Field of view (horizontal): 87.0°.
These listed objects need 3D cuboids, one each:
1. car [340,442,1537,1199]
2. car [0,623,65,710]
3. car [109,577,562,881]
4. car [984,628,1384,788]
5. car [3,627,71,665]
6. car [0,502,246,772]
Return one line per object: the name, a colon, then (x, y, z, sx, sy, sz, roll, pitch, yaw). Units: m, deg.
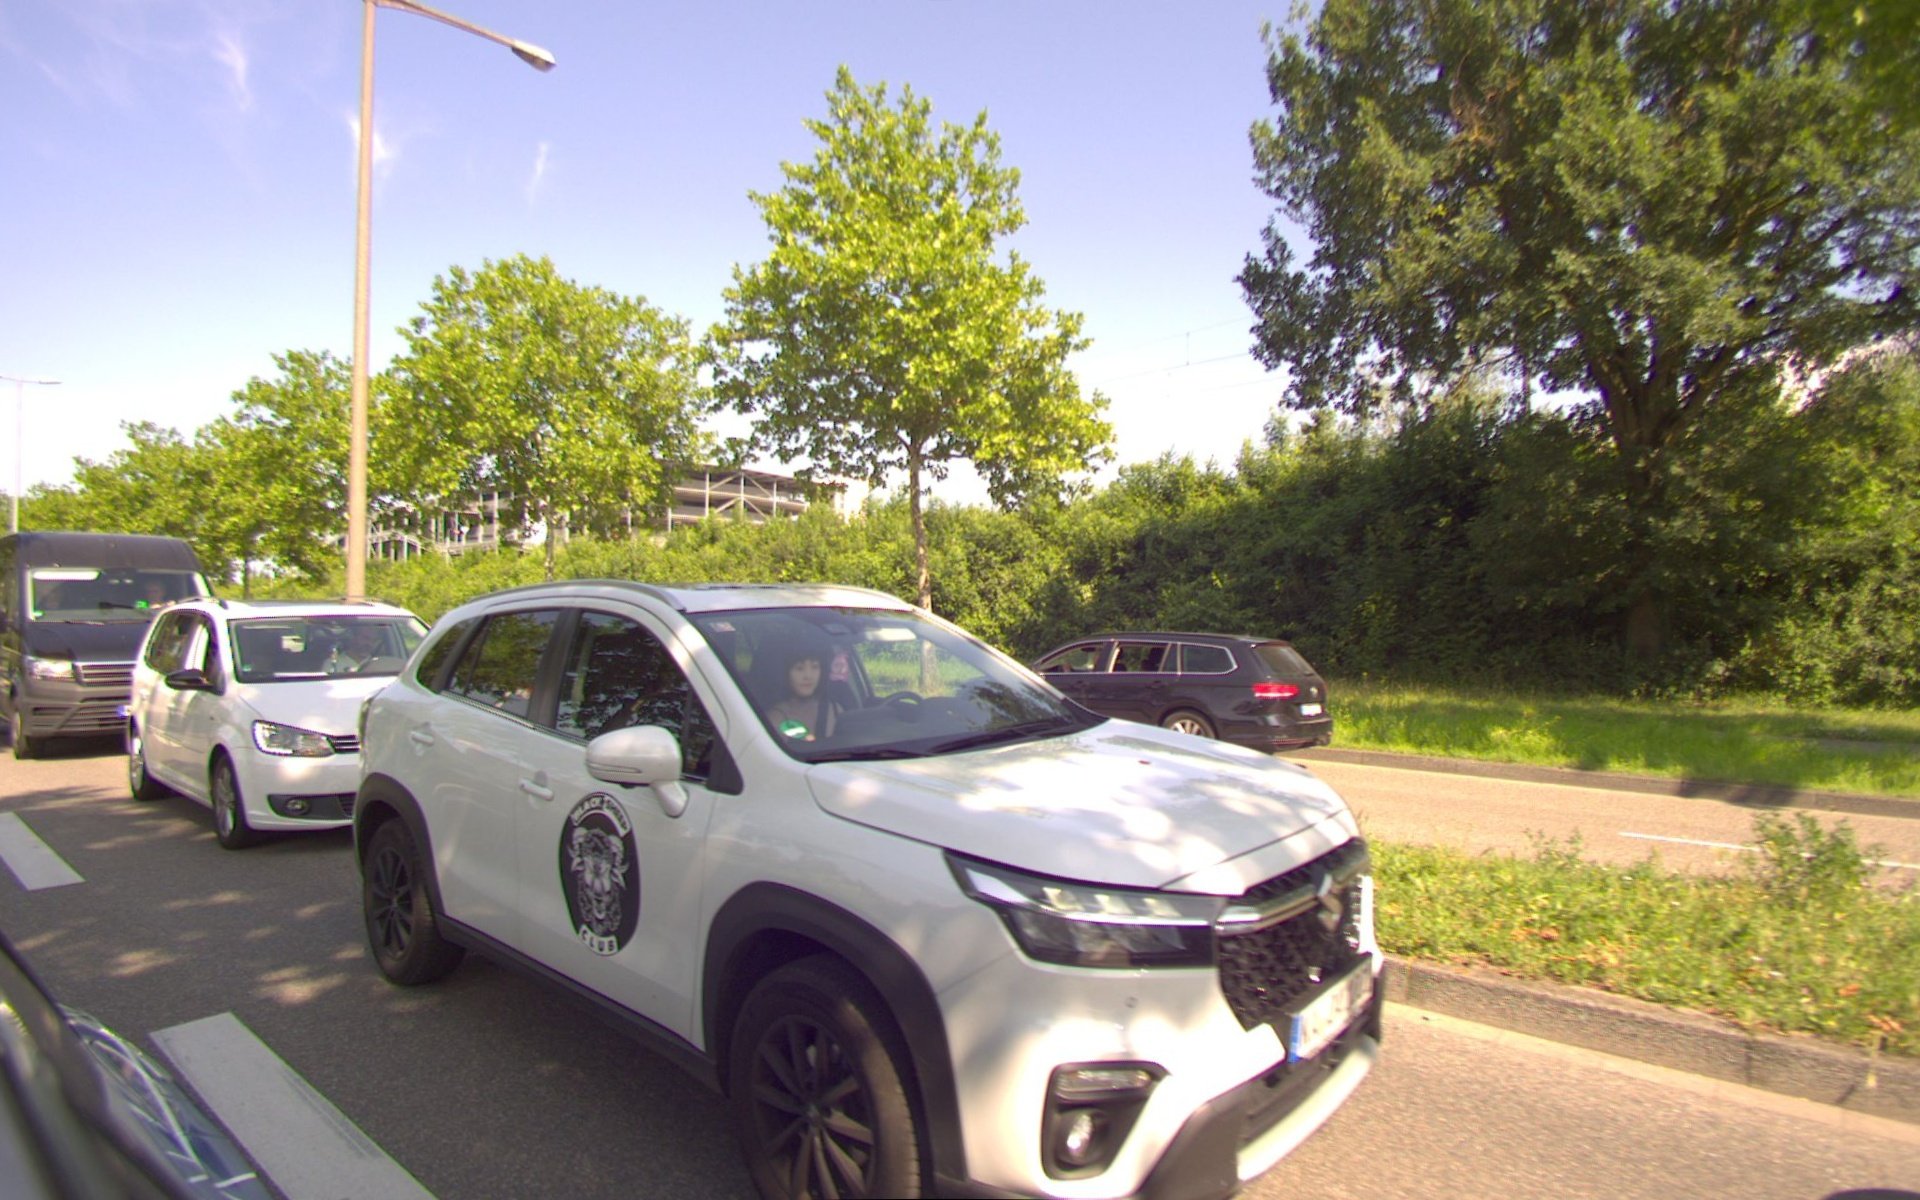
car: (-0.494, 0.629, 3.534, 4.083, 1.660, 1.753, -1, -1, 42)
car: (-18.668, 1.223, 19.358, 4.206, 1.533, 1.800, -2, -2, 41)
car: (-4.893, 0.748, 7.651, 4.350, 1.660, 1.752, -1, -2, 42)
car: (2.404, 1.078, 11.531, 4.158, 1.497, 1.719, -2, -3, 42)
car: (-41.680, 2.046, 45.668, 4.174, 1.595, 1.834, -2, -2, 42)
car: (-10.977, 0.413, 12.653, 6.166, 2.627, 1.994, -1, -1, 42)
